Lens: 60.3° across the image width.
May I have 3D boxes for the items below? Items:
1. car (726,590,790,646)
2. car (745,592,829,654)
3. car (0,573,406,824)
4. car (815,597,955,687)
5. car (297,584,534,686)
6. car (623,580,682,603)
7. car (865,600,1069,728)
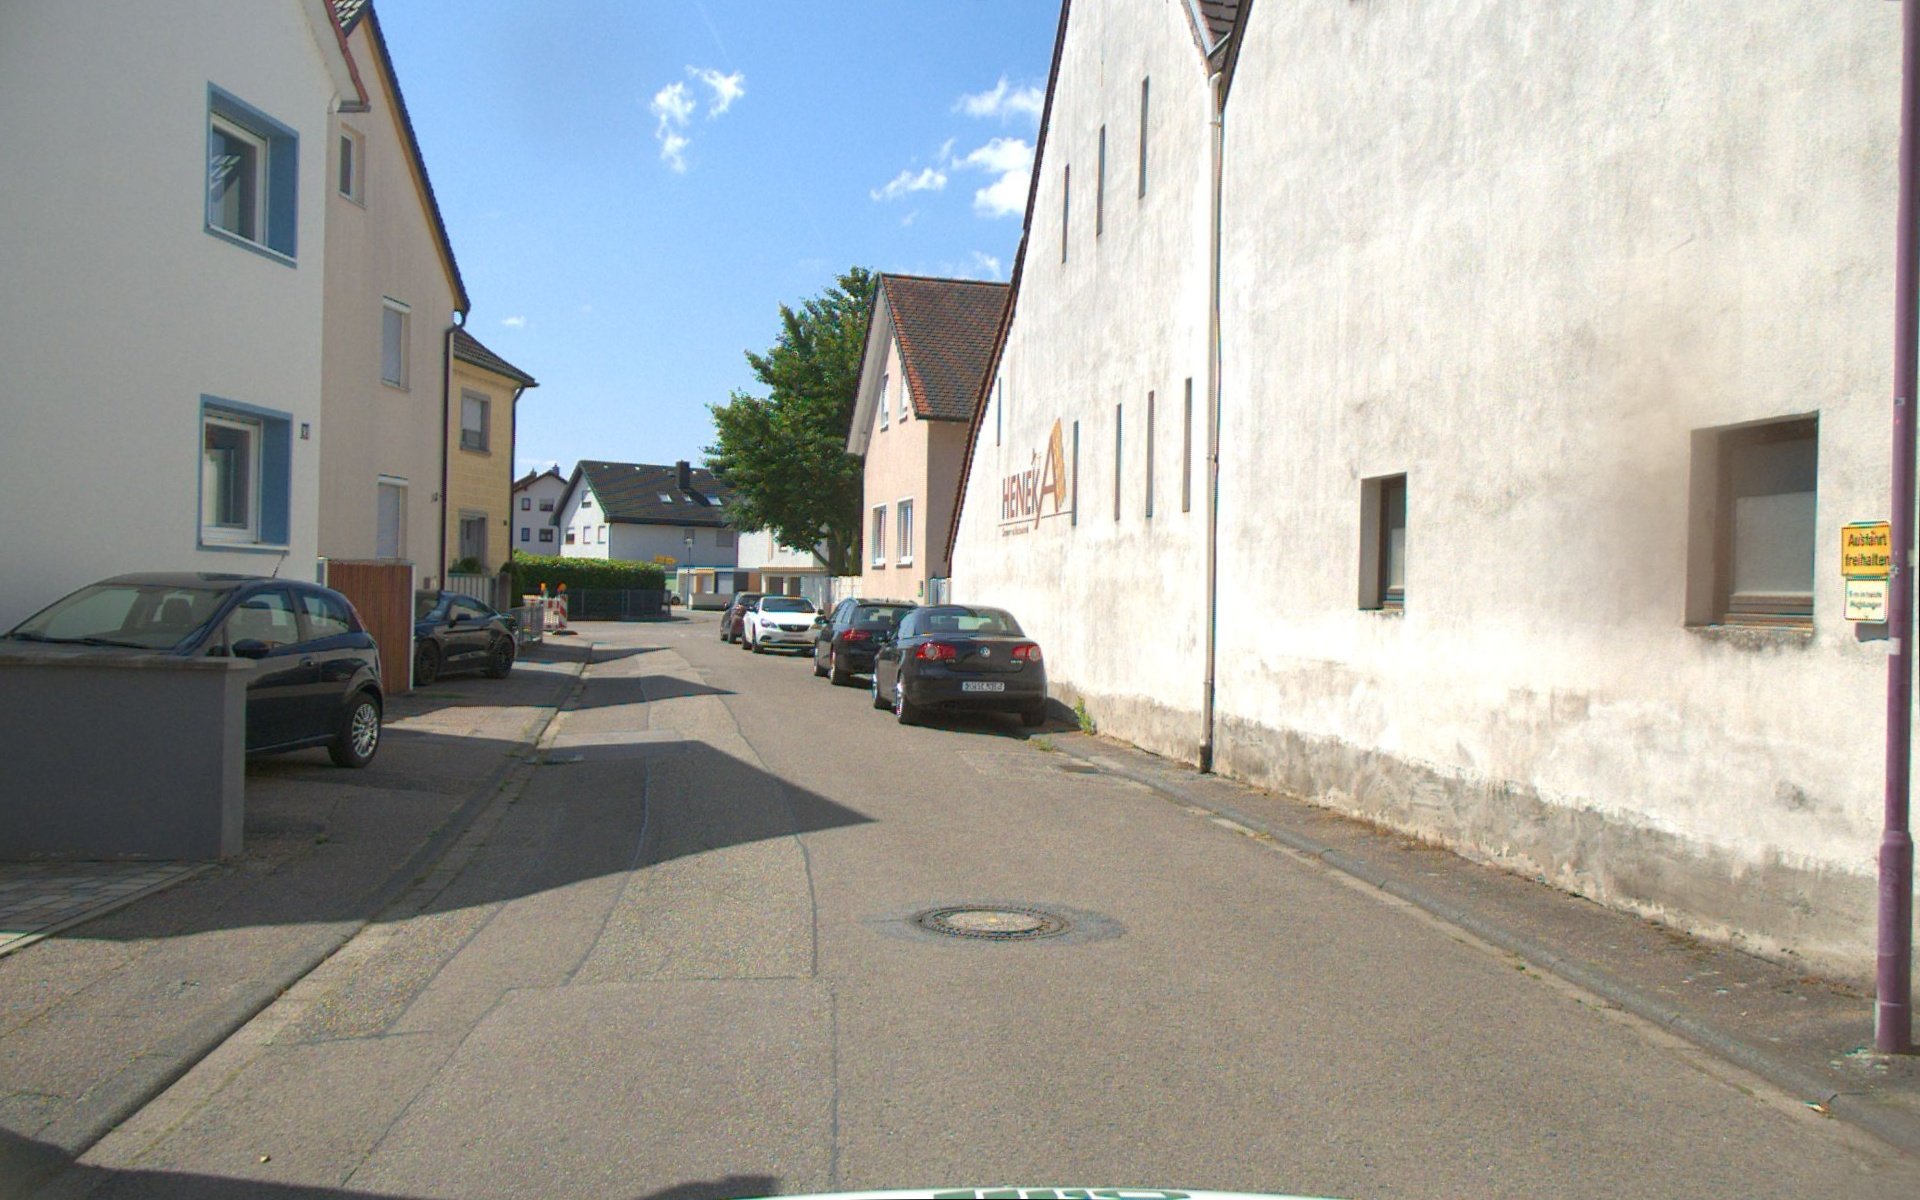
[{"bbox_3d":[-6.027,0.512,49.088,1.681,1.559,4.026,1,0,-10],"label":"car"},{"bbox_3d":[-4.516,0.560,42.630,1.861,1.453,4.726,1,0,-10],"label":"car"},{"bbox_3d":[-5.606,0.574,11.914,1.603,1.480,3.789,2,1,6],"label":"car"},{"bbox_3d":[-1.404,0.683,28.942,1.861,1.389,4.726,2,0,-10],"label":"car"},{"bbox_3d":[-8.181,0.509,25.303,1.732,1.373,4.472,2,0,6],"label":"car"},{"bbox_3d":[-20.992,-0.587,113.029,3.568,1.433,1.763,1,0,-35],"label":"car"},{"bbox_3d":[-0.034,0.738,21.018,1.861,1.389,4.404,2,0,-10],"label":"car"}]
